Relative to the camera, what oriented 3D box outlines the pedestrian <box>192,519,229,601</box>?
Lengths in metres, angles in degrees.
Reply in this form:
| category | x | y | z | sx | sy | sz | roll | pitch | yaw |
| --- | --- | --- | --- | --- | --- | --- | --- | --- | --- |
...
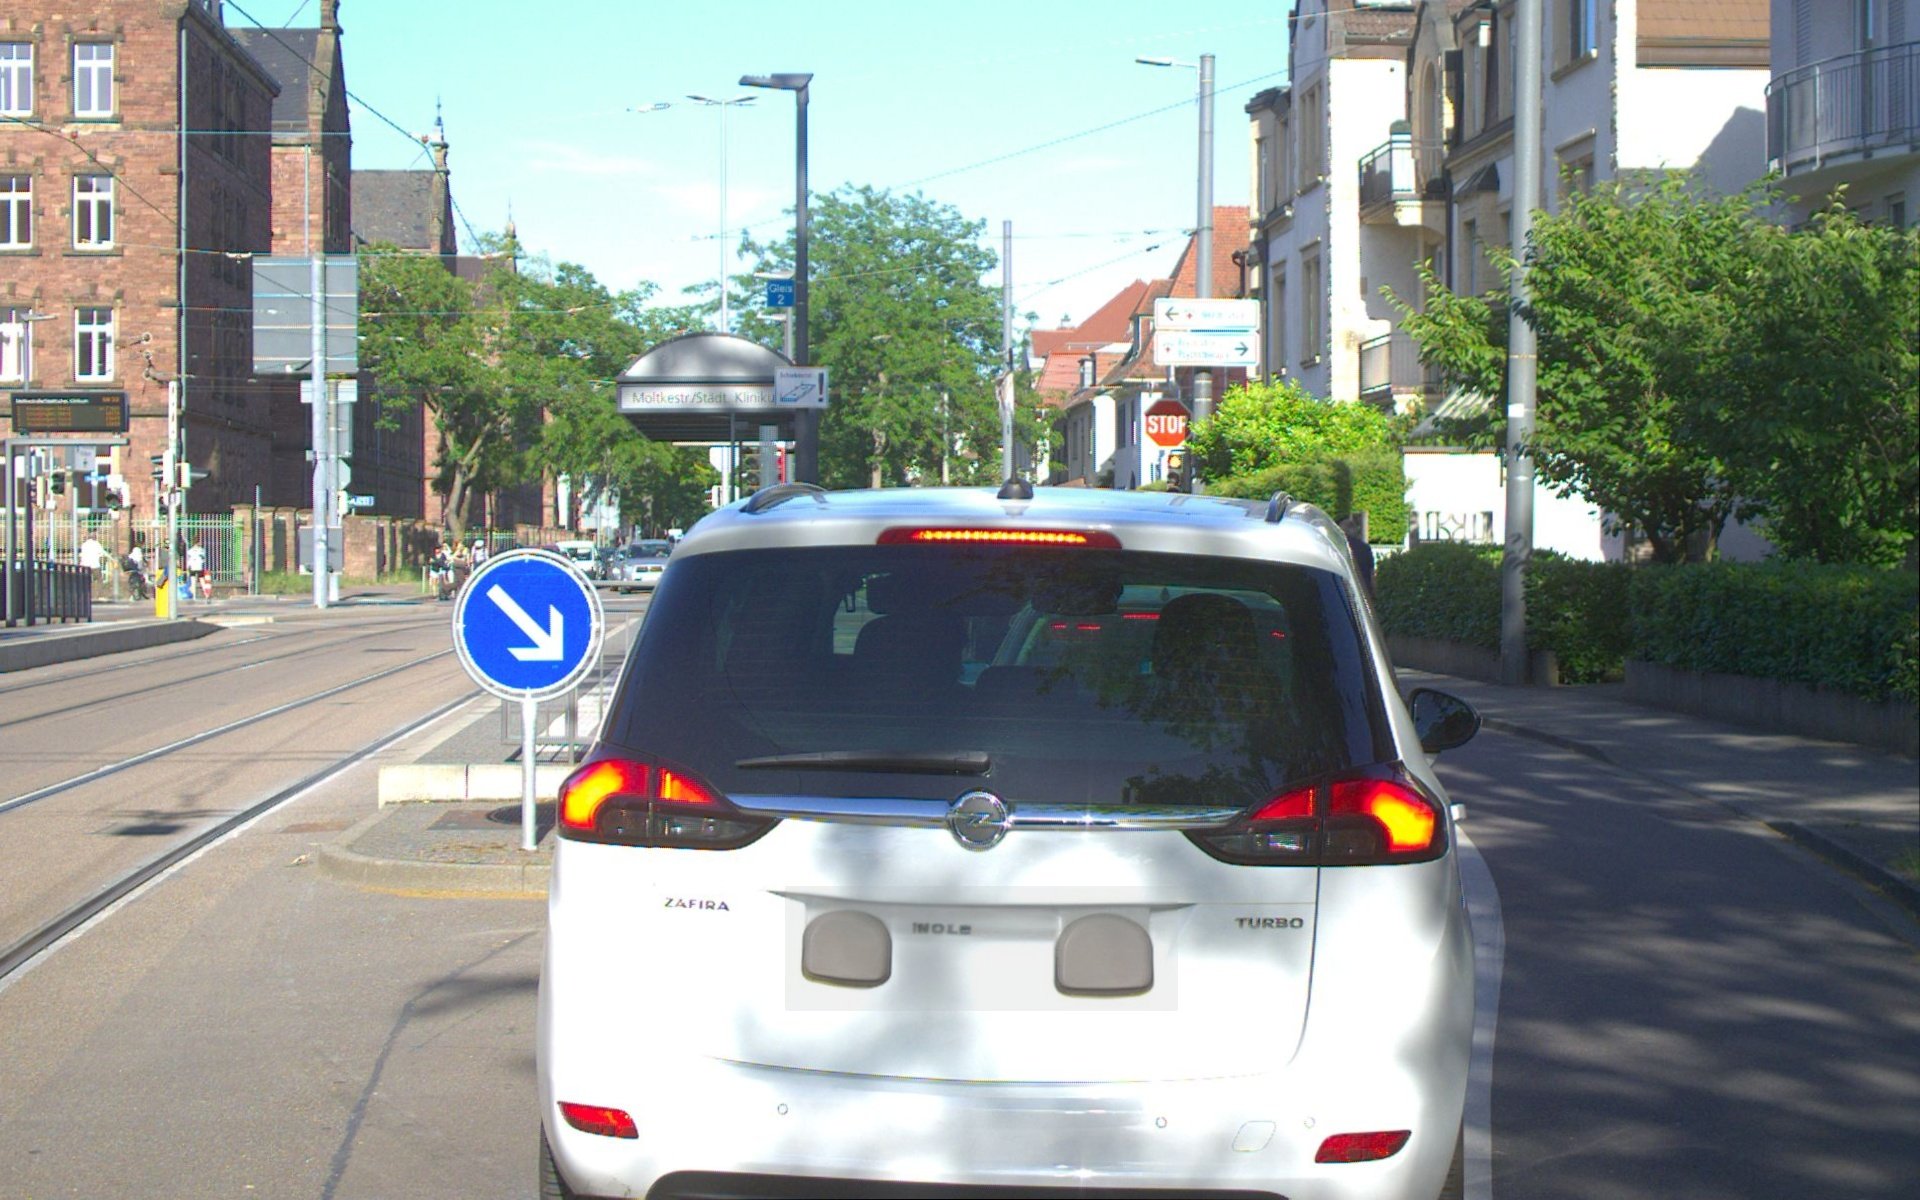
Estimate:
| category | x | y | z | sx | sy | sz | roll | pitch | yaw |
| --- | --- | --- | --- | --- | --- | --- | --- | --- | --- |
| pedestrian | -18.528 | -1.000 | 84.975 | 0.794 | 2.007 | 0.721 | 1 | 0 | -17 |

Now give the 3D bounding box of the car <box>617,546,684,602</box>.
| category | x | y | z | sx | sy | sz | roll | pitch | yaw |
| --- | --- | --- | --- | --- | --- | --- | --- | --- | --- |
| car | -9.640 | -0.818 | 107.361 | 1.746 | 1.710 | 4.000 | 1 | 1 | -1 |

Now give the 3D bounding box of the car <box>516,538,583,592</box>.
| category | x | y | z | sx | sy | sz | roll | pitch | yaw |
| --- | --- | --- | --- | --- | --- | --- | --- | --- | --- |
| car | -13.553 | -1.154 | 113.712 | 1.746 | 1.710 | 4.000 | 1 | 1 | -1 |

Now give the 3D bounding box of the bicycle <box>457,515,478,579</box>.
| category | x | y | z | sx | sy | sz | roll | pitch | yaw |
| --- | --- | --- | --- | --- | --- | --- | --- | --- | --- |
| bicycle | -15.629 | -1.688 | 109.094 | 0.487 | 2.007 | 1.405 | 0 | 1 | 0 |

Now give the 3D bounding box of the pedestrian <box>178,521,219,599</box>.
| category | x | y | z | sx | sy | sz | roll | pitch | yaw |
| --- | --- | --- | --- | --- | --- | --- | --- | --- | --- |
| pedestrian | -19.712 | -1.029 | 88.969 | 0.795 | 2.007 | 0.720 | 1 | 0 | -37 |

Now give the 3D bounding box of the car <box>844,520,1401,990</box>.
| category | x | y | z | sx | sy | sz | roll | pitch | yaw |
| --- | --- | --- | --- | --- | --- | --- | --- | --- | --- |
| car | 0.782 | 0.490 | 13.774 | 1.907 | 1.592 | 3.999 | 0 | 1 | 7 |

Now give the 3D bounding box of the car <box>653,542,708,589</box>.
| category | x | y | z | sx | sy | sz | roll | pitch | yaw |
| --- | --- | --- | --- | --- | --- | --- | --- | --- | --- |
| car | -10.488 | -1.294 | 129.070 | 1.746 | 1.710 | 4.000 | 1 | 1 | -1 |

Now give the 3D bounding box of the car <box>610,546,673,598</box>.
| category | x | y | z | sx | sy | sz | roll | pitch | yaw |
| --- | --- | --- | --- | --- | --- | --- | --- | --- | --- |
| car | -10.651 | -0.947 | 115.218 | 1.746 | 1.710 | 4.000 | 1 | 1 | -1 |

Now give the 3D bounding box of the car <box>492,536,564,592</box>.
| category | x | y | z | sx | sy | sz | roll | pitch | yaw |
| --- | --- | --- | --- | --- | --- | --- | --- | --- | --- |
| car | -13.427 | -1.119 | 107.045 | 1.746 | 1.710 | 4.000 | 1 | 1 | -1 |

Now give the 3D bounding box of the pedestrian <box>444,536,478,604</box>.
| category | x | y | z | sx | sy | sz | roll | pitch | yaw |
| --- | --- | --- | --- | --- | --- | --- | --- | --- | --- |
| pedestrian | -14.012 | -0.842 | 96.517 | 0.741 | 1.894 | 0.811 | 1 | 0 | -23 |

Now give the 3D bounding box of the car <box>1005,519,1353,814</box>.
| category | x | y | z | sx | sy | sz | roll | pitch | yaw |
| --- | --- | --- | --- | --- | --- | --- | --- | --- | --- |
| car | 1.431 | 0.328 | 20.997 | 1.907 | 1.619 | 3.999 | 0 | 1 | 7 |

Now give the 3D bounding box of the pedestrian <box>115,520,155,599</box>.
| category | x | y | z | sx | sy | sz | roll | pitch | yaw |
| --- | --- | --- | --- | --- | --- | --- | --- | --- | --- |
| pedestrian | -21.198 | -1.044 | 88.346 | 0.795 | 2.007 | 0.720 | 1 | 0 | -34 |

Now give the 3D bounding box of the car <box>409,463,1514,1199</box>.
| category | x | y | z | sx | sy | sz | roll | pitch | yaw |
| --- | --- | --- | --- | --- | --- | --- | --- | --- | --- |
| car | 0.216 | 0.558 | 7.890 | 1.907 | 1.656 | 3.999 | 0 | 1 | 7 |

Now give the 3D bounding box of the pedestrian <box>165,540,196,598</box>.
| category | x | y | z | sx | sy | sz | roll | pitch | yaw |
| --- | --- | --- | --- | --- | --- | --- | --- | --- | --- |
| pedestrian | -21.608 | -0.861 | 95.307 | 0.654 | 1.606 | 0.711 | 1 | 0 | 2 |

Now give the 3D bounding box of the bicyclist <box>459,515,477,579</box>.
| category | x | y | z | sx | sy | sz | roll | pitch | yaw |
| --- | --- | --- | --- | --- | --- | --- | --- | --- | --- |
| bicyclist | -15.621 | -1.689 | 109.122 | 0.498 | 2.007 | 0.572 | 0 | 1 | -1 |

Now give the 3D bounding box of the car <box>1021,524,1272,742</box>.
| category | x | y | z | sx | sy | sz | roll | pitch | yaw |
| --- | --- | --- | --- | --- | --- | --- | --- | --- | --- |
| car | 1.567 | 0.216 | 28.274 | 1.907 | 1.656 | 4.000 | 0 | 1 | 4 |

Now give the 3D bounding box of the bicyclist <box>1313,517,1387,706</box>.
| category | x | y | z | sx | sy | sz | roll | pitch | yaw |
| --- | --- | --- | --- | --- | --- | --- | --- | --- | --- |
| bicyclist | 3.501 | 0.096 | 30.903 | 0.616 | 1.681 | 0.779 | 0 | 1 | 4 |

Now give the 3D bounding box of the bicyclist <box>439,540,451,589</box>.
| category | x | y | z | sx | sy | sz | roll | pitch | yaw |
| --- | --- | --- | --- | --- | --- | --- | --- | --- | --- |
| bicyclist | -15.426 | -1.064 | 103.043 | 0.313 | 1.439 | 0.384 | 0 | 1 | -1 |

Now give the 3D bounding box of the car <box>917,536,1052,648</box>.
| category | x | y | z | sx | sy | sz | roll | pitch | yaw |
| --- | --- | --- | --- | --- | --- | --- | --- | --- | --- |
| car | 0.338 | -0.150 | 53.089 | 1.907 | 1.656 | 4.001 | 0 | 1 | -2 |

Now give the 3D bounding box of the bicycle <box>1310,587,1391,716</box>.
| category | x | y | z | sx | sy | sz | roll | pitch | yaw |
| --- | --- | --- | --- | --- | --- | --- | --- | --- | --- |
| bicycle | 3.504 | 0.445 | 30.931 | 0.624 | 1.093 | 1.973 | 0 | 1 | 4 |

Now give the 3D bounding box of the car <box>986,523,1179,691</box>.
| category | x | y | z | sx | sy | sz | roll | pitch | yaw |
| --- | --- | --- | --- | --- | --- | --- | --- | --- | --- |
| car | 1.243 | 0.035 | 36.111 | 1.907 | 1.656 | 4.000 | 0 | 1 | 1 |

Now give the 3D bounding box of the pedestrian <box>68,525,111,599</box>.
| category | x | y | z | sx | sy | sz | roll | pitch | yaw |
| --- | --- | --- | --- | --- | --- | --- | --- | --- | --- |
| pedestrian | -22.535 | -0.991 | 88.998 | 0.808 | 1.894 | 0.743 | 1 | 0 | 14 |
